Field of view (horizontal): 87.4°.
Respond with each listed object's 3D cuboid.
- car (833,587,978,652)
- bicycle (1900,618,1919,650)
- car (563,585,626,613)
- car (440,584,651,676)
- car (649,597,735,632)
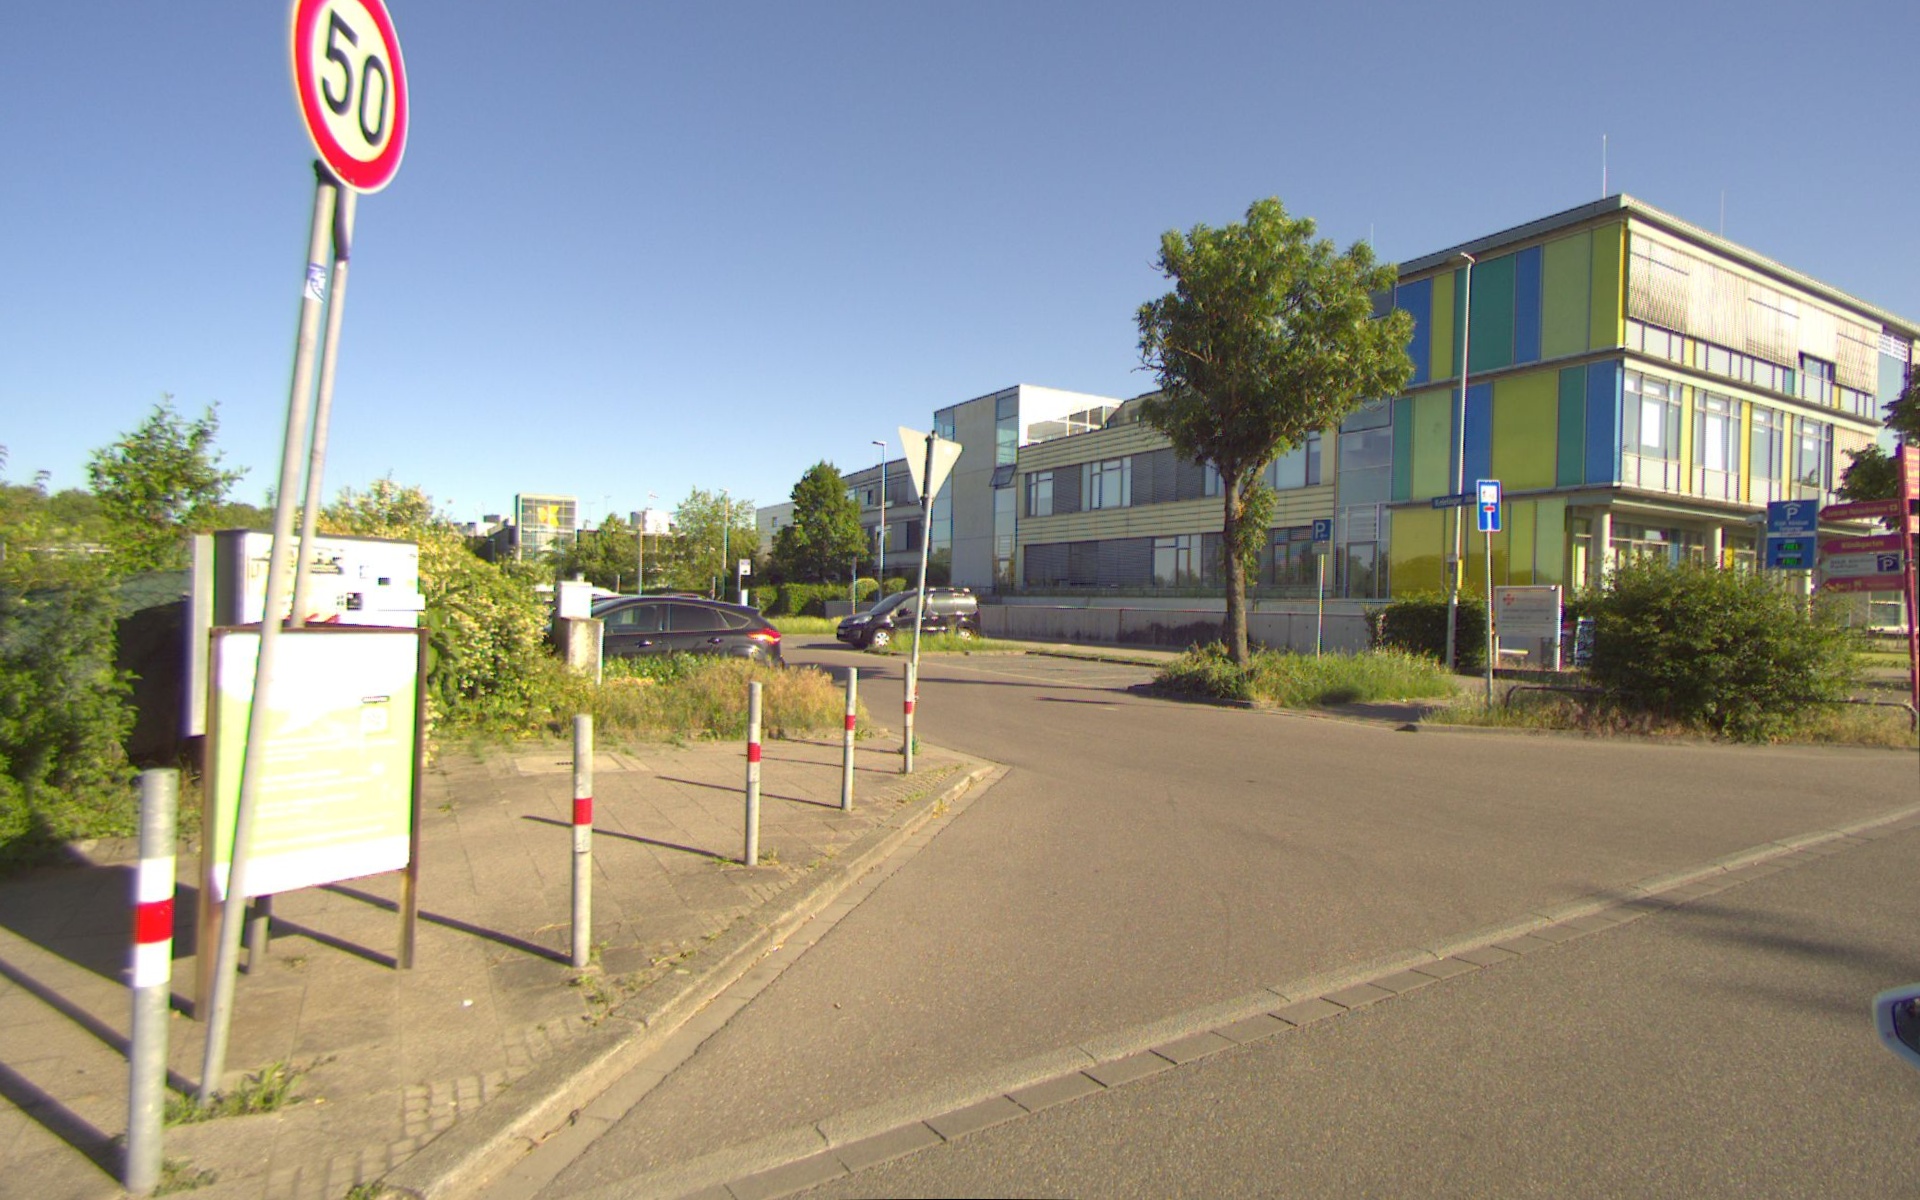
[{"bbox_3d":[-1.603,0.567,29.773,4.048,1.813,1.501,1,0,-25],"label":"car"},{"bbox_3d":[37.431,1.330,38.799,1.963,1.169,0.867,2,1,-22],"label":"bicycle"},{"bbox_3d":[-28.175,-0.071,77.465,4.342,2.040,1.984,1,0,-31],"label":"car"},{"bbox_3d":[-8.332,0.592,20.322,3.794,1.717,1.501,1,0,-25],"label":"car"},{"bbox_3d":[-13.838,0.748,51.891,3.954,1.724,1.984,1,0,-31],"label":"car"}]
